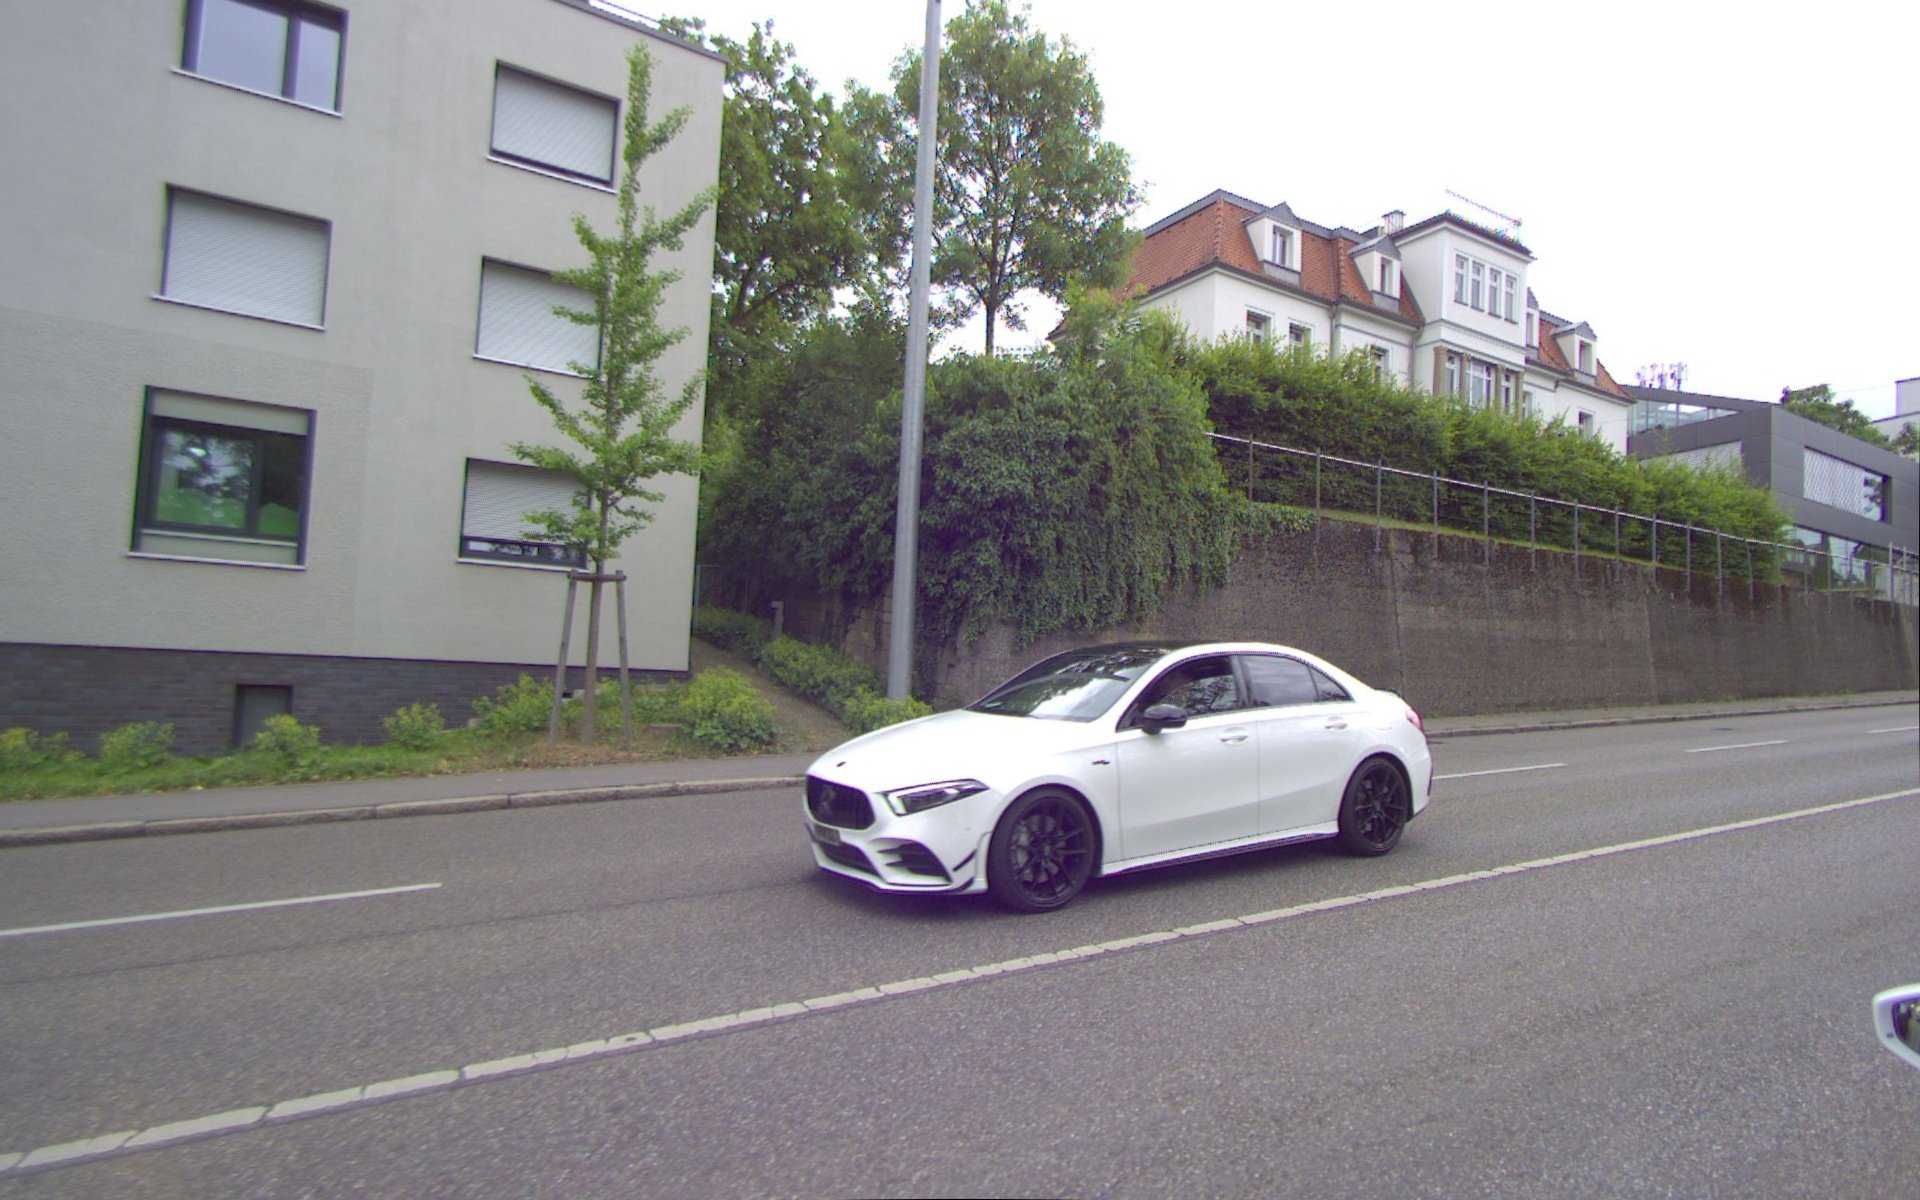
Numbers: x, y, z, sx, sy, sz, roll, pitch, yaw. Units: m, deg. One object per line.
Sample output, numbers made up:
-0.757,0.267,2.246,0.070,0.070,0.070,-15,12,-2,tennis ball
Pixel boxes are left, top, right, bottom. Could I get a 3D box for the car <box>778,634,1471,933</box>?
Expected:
1.197,0.961,6.663,4.410,1.404,1.807,1,-4,-30,car
